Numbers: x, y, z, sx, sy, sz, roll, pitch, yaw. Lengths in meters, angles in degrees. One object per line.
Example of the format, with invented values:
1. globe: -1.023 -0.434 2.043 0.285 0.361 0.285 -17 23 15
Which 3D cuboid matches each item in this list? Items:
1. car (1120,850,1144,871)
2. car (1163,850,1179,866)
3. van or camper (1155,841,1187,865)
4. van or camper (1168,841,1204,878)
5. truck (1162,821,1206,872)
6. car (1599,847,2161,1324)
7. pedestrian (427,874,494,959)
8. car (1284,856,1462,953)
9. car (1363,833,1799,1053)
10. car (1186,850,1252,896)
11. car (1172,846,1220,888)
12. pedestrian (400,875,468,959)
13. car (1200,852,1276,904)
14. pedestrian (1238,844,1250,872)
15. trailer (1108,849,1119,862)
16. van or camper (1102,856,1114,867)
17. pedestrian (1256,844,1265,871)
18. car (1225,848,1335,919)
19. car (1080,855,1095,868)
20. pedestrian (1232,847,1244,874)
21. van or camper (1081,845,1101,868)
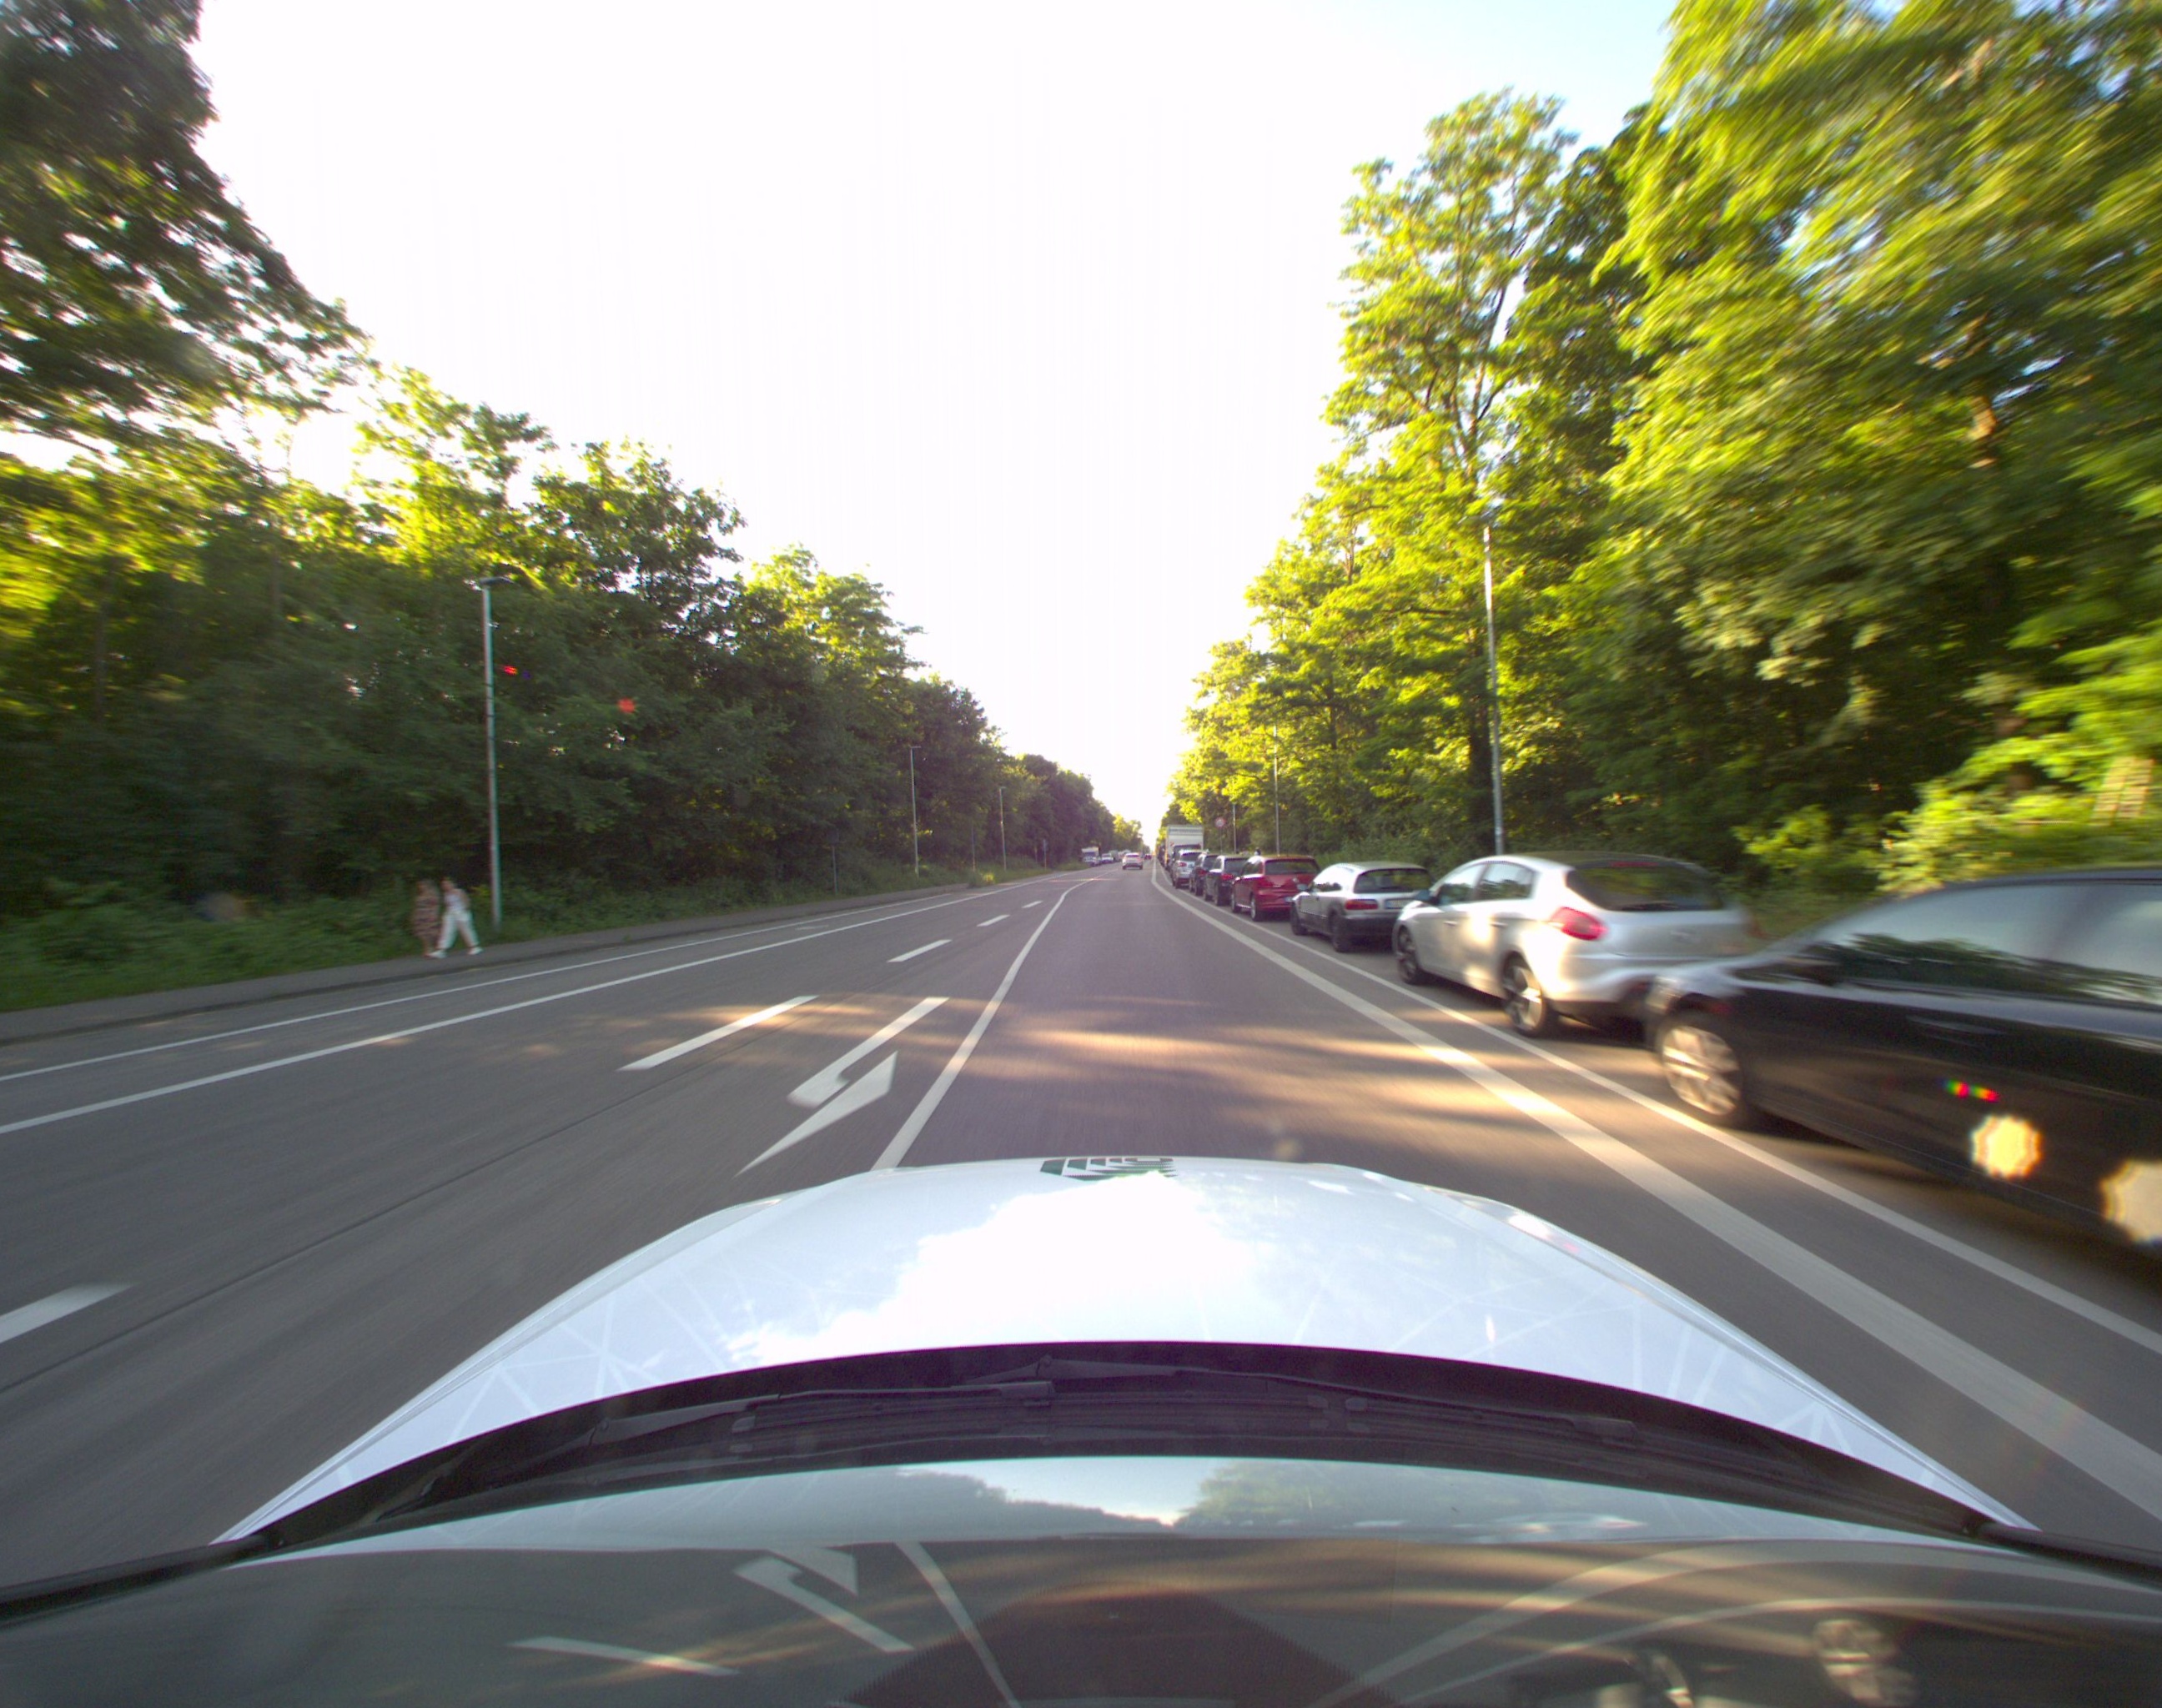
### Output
1. car: 4.750 0.568 75.577 2.019 1.840 4.035 -2 0 5
2. car: 9.582 0.375 86.724 1.703 1.665 4.559 0 0 6
3. van or camper: 11.111 -0.182 99.817 2.421 2.799 6.588 -3 0 19
4. van or camper: 6.053 0.293 47.409 1.888 2.013 4.594 -2 0 5
5. truck: 7.823 -0.559 62.785 2.819 3.497 8.588 -2 0 4
6. car: 4.140 0.706 3.276 1.650 1.452 4.021 0 0 1
7. pedestrian: -12.623 1.258 16.582 0.671 1.653 0.792 -2 0 9
8. car: 4.595 0.715 13.389 1.622 1.319 3.842 -1 0 2
9. car: 4.384 0.641 8.099 1.730 1.525 4.361 -3 0 2
10. car: 4.884 0.615 29.334 1.800 1.519 4.507 0 0 3
11. car: 4.872 0.518 34.980 1.790 1.595 4.035 -2 0 6
12. pedestrian: -13.286 1.278 16.748 0.671 1.653 0.792 -2 0 9
13. car: 4.592 0.663 24.265 1.589 1.401 3.799 -1 0 1
14. pedestrian: 10.517 0.285 52.540 0.615 1.764 0.908 -3 0 4
15. trailer: 6.993 0.354 173.536 1.984 2.597 4.422 -5 -1 5
16. van or camper: 4.948 1.331 150.470 1.827 1.911 4.862 -4 0 5
17. pedestrian: 10.605 0.198 48.115 0.392 1.588 0.482 -3 0 4
18. car: 4.513 0.615 18.941 1.611 1.469 3.723 0 0 -1
19. car: 0.913 0.989 109.166 1.820 1.476 4.683 -4 0 2
20. pedestrian: 9.661 0.408 50.102 0.561 1.588 0.482 -3 0 4
21. van or camper: 1.508 0.364 116.755 2.305 2.970 7.116 -5 0 3
